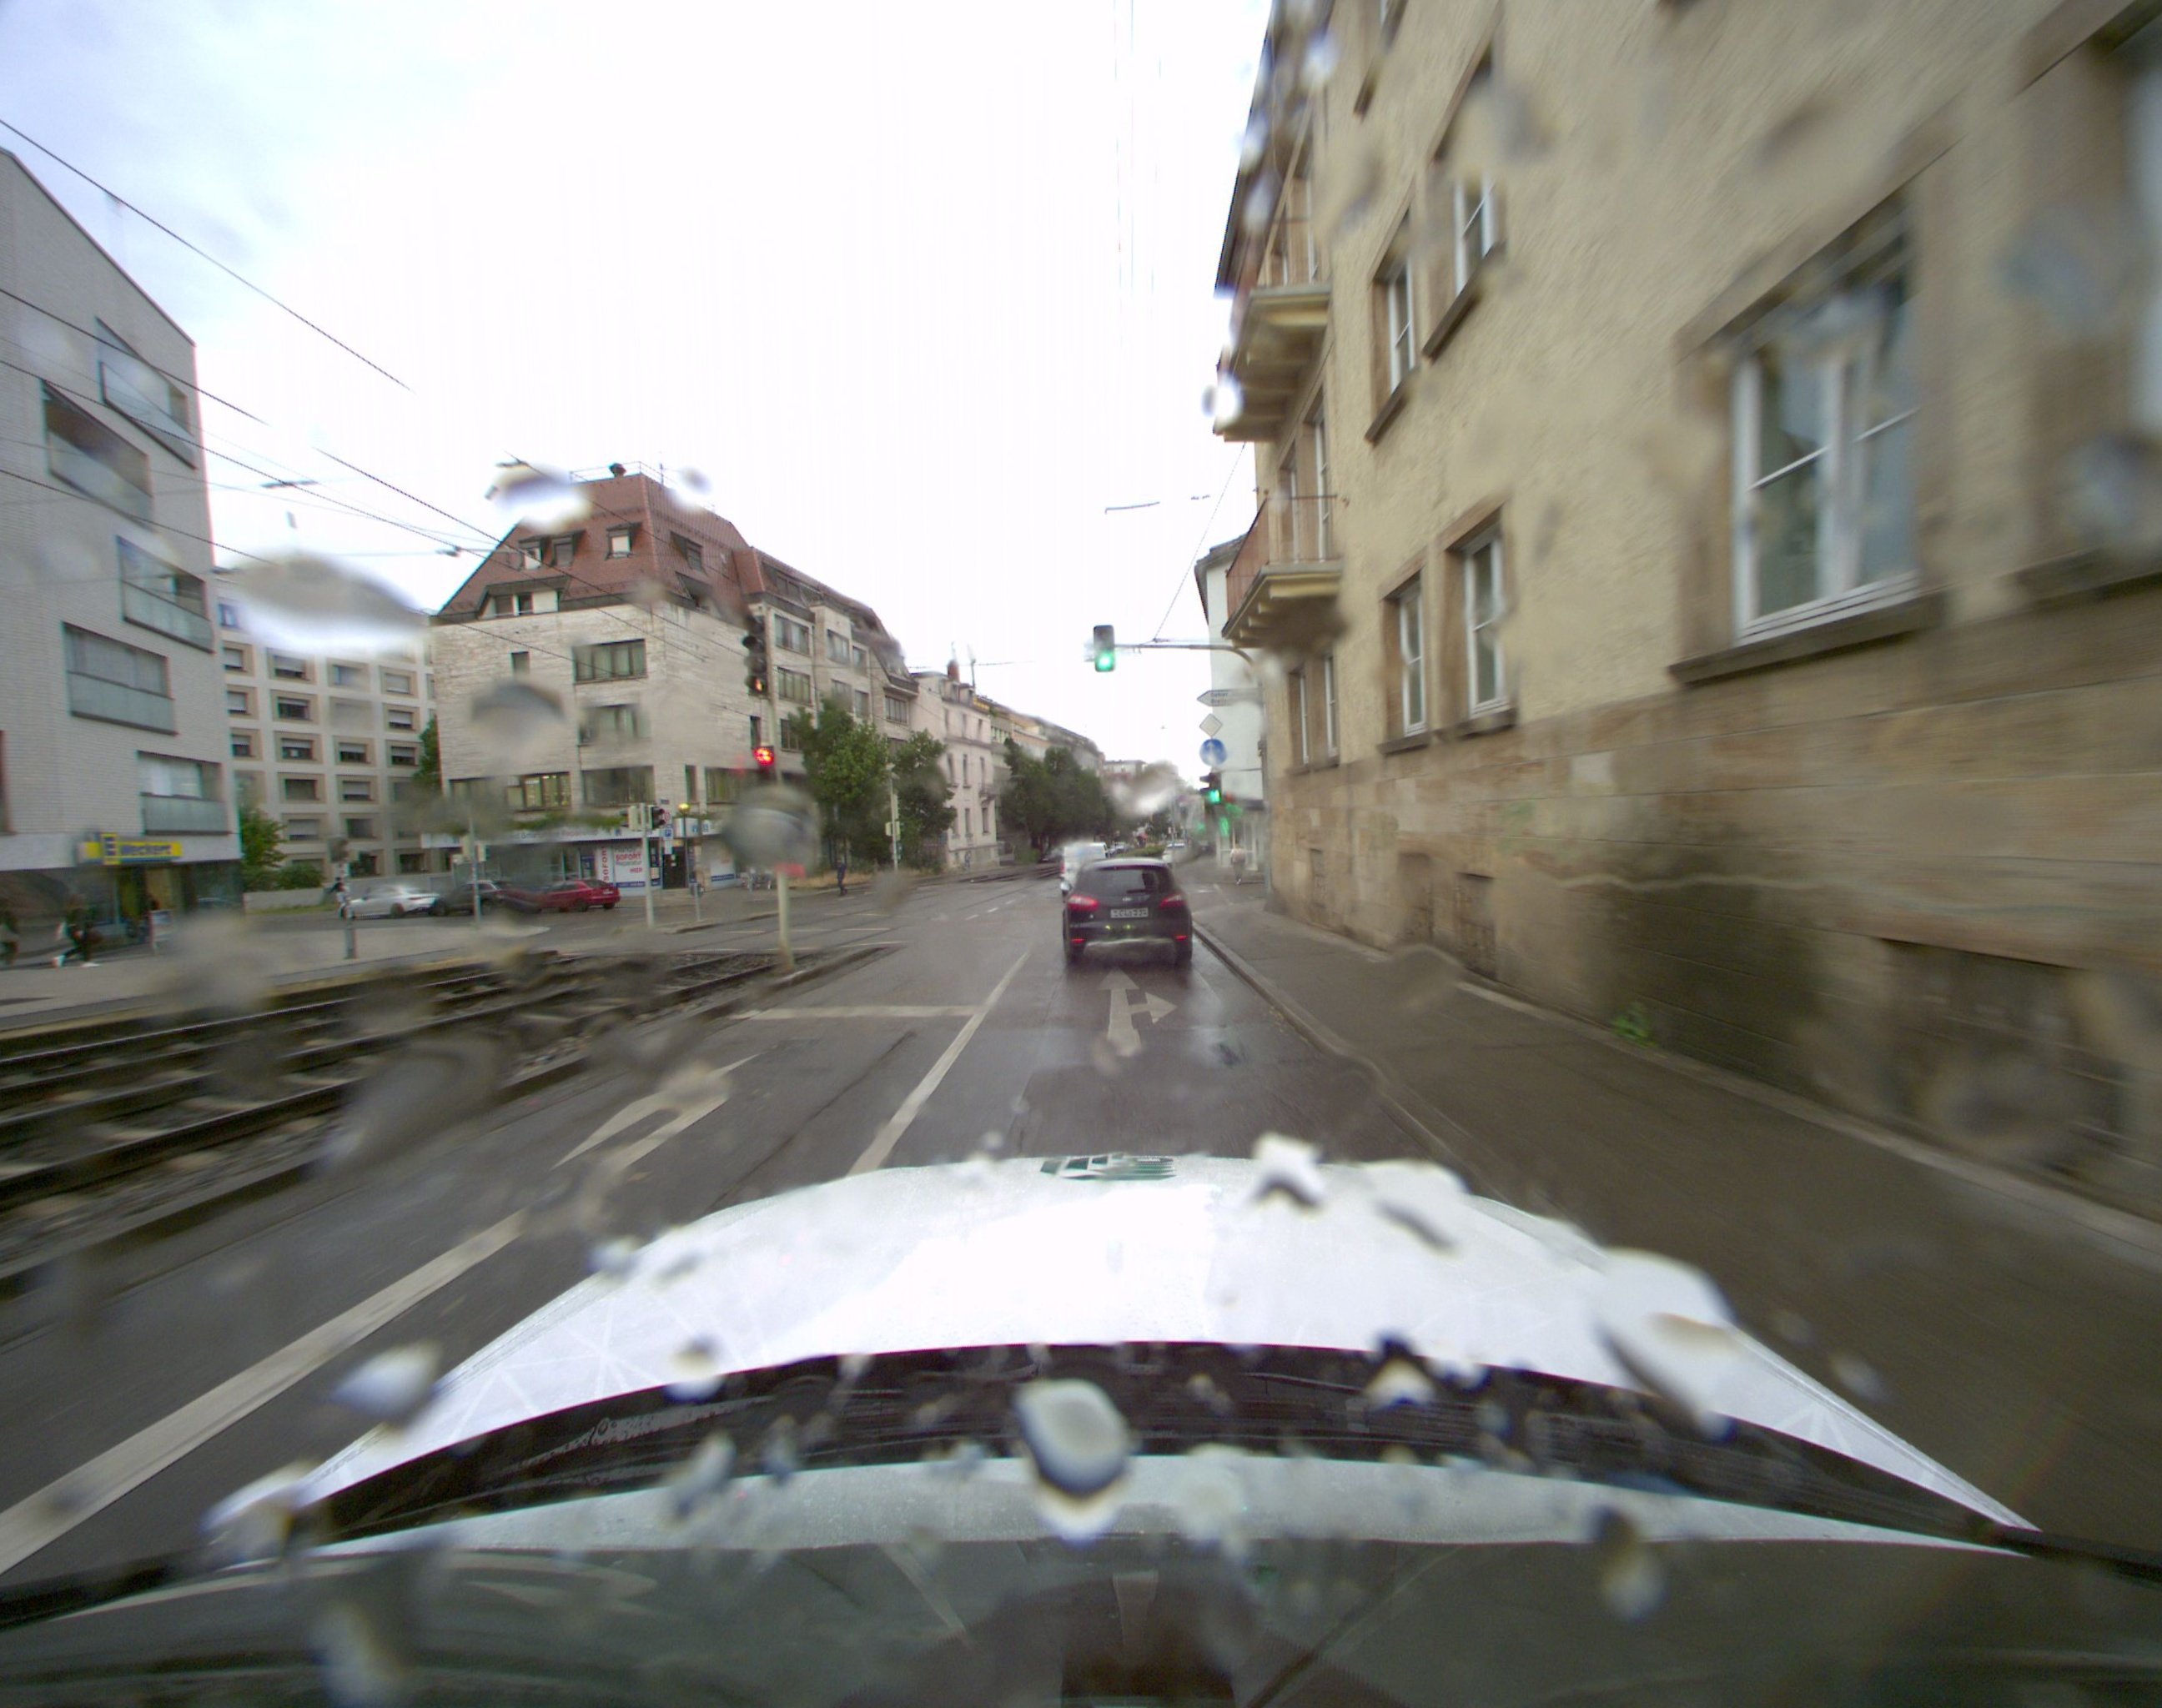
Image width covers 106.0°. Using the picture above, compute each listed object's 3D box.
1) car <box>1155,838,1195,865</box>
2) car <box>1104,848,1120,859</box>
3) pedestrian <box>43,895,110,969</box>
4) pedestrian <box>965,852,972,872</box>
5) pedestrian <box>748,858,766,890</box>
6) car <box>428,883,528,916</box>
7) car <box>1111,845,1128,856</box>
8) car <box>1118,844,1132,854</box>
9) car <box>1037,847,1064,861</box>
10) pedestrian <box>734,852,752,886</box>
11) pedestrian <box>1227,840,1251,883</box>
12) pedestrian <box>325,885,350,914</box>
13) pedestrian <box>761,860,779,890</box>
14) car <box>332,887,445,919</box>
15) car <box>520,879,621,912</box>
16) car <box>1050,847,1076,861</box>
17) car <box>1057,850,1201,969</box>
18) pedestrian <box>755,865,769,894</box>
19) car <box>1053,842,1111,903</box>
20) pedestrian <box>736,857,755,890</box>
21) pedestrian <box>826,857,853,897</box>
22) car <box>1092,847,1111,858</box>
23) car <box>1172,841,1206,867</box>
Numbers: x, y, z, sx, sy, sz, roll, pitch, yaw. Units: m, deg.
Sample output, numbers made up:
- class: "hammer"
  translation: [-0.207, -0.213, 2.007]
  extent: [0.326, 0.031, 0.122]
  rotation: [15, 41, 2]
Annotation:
- class: "car"
  translation: [5.700, -0.164, 49.006]
  extent: [1.789, 1.455, 4.602]
  rotation: [-4, -1, 13]
- class: "car"
  translation: [4.705, -0.128, 122.810]
  extent: [1.656, 1.558, 4.060]
  rotation: [-2, -1, 13]
- class: "pedestrian"
  translation: [-22.808, 1.755, 18.501]
  extent: [0.650, 1.569, 0.771]
  rotation: [-2, 0, -25]
- class: "pedestrian"
  translation: [-9.412, 0.634, 68.024]
  extent: [0.466, 1.652, 0.582]
  rotation: [0, -1, 0]
- class: "pedestrian"
  translation: [-17.345, 1.065, 43.601]
  extent: [0.643, 1.724, 0.686]
  rotation: [0, -1, 10]
- class: "car"
  translation: [-27.583, 2.073, 37.286]
  extent: [3.669, 1.318, 1.599]
  rotation: [-2, -1, 11]
- class: "car"
  translation: [6.298, -0.587, 132.002]
  extent: [1.843, 1.637, 4.952]
  rotation: [-2, -1, 13]
- class: "car"
  translation: [7.582, -0.830, 138.679]
  extent: [1.683, 1.573, 4.060]
  rotation: [-2, -1, 13]
- class: "car"
  translation: [-3.226, 0.031, 86.916]
  extent: [1.682, 1.377, 4.737]
  rotation: [-2, -1, 13]
- class: "pedestrian"
  translation: [-18.534, 0.841, 44.640]
  extent: [0.643, 1.842, 0.686]
  rotation: [0, -1, 10]
- class: "pedestrian"
  translation: [5.939, 0.280, 30.614]
  extent: [0.685, 1.572, 0.763]
  rotation: [-3, -1, 1]
- class: "pedestrian"
  translation: [-39.389, 2.401, 43.151]
  extent: [0.677, 1.549, 0.651]
  rotation: [0, -1, 10]
- class: "pedestrian"
  translation: [-16.619, 1.121, 43.516]
  extent: [0.643, 1.549, 0.686]
  rotation: [0, -1, 10]
- class: "car"
  translation: [-32.445, 2.274, 38.187]
  extent: [4.458, 1.318, 1.599]
  rotation: [-2, -1, 11]
- class: "car"
  translation: [-22.788, 1.837, 36.368]
  extent: [3.669, 1.318, 1.599]
  rotation: [-2, -1, 11]
- class: "car"
  translation: [-2.024, 0.021, 93.111]
  extent: [1.843, 1.548, 4.737]
  rotation: [-2, -1, 13]
- class: "car"
  translation: [0.689, 0.739, 12.487]
  extent: [1.835, 1.507, 4.002]
  rotation: [-1, -1, 2]
- class: "pedestrian"
  translation: [-17.419, 1.380, 44.490]
  extent: [0.500, 1.598, 0.587]
  rotation: [0, -1, 10]
- class: "car"
  translation: [0.096, 0.656, 30.206]
  extent: [1.981, 2.060, 4.646]
  rotation: [-1, -1, 1]
- class: "pedestrian"
  translation: [-17.983, 1.027, 43.682]
  extent: [0.643, 1.749, 0.686]
  rotation: [0, -1, 10]
- class: "pedestrian"
  translation: [-11.157, 1.054, 37.654]
  extent: [0.926, 1.830, 0.960]
  rotation: [0, -1, 4]
- class: "car"
  translation: [2.953, -0.237, 115.717]
  extent: [1.843, 1.527, 4.060]
  rotation: [-2, -1, 13]
- class: "car"
  translation: [7.402, -0.015, 55.562]
  extent: [1.832, 1.632, 4.602]
  rotation: [-2, -1, 13]
